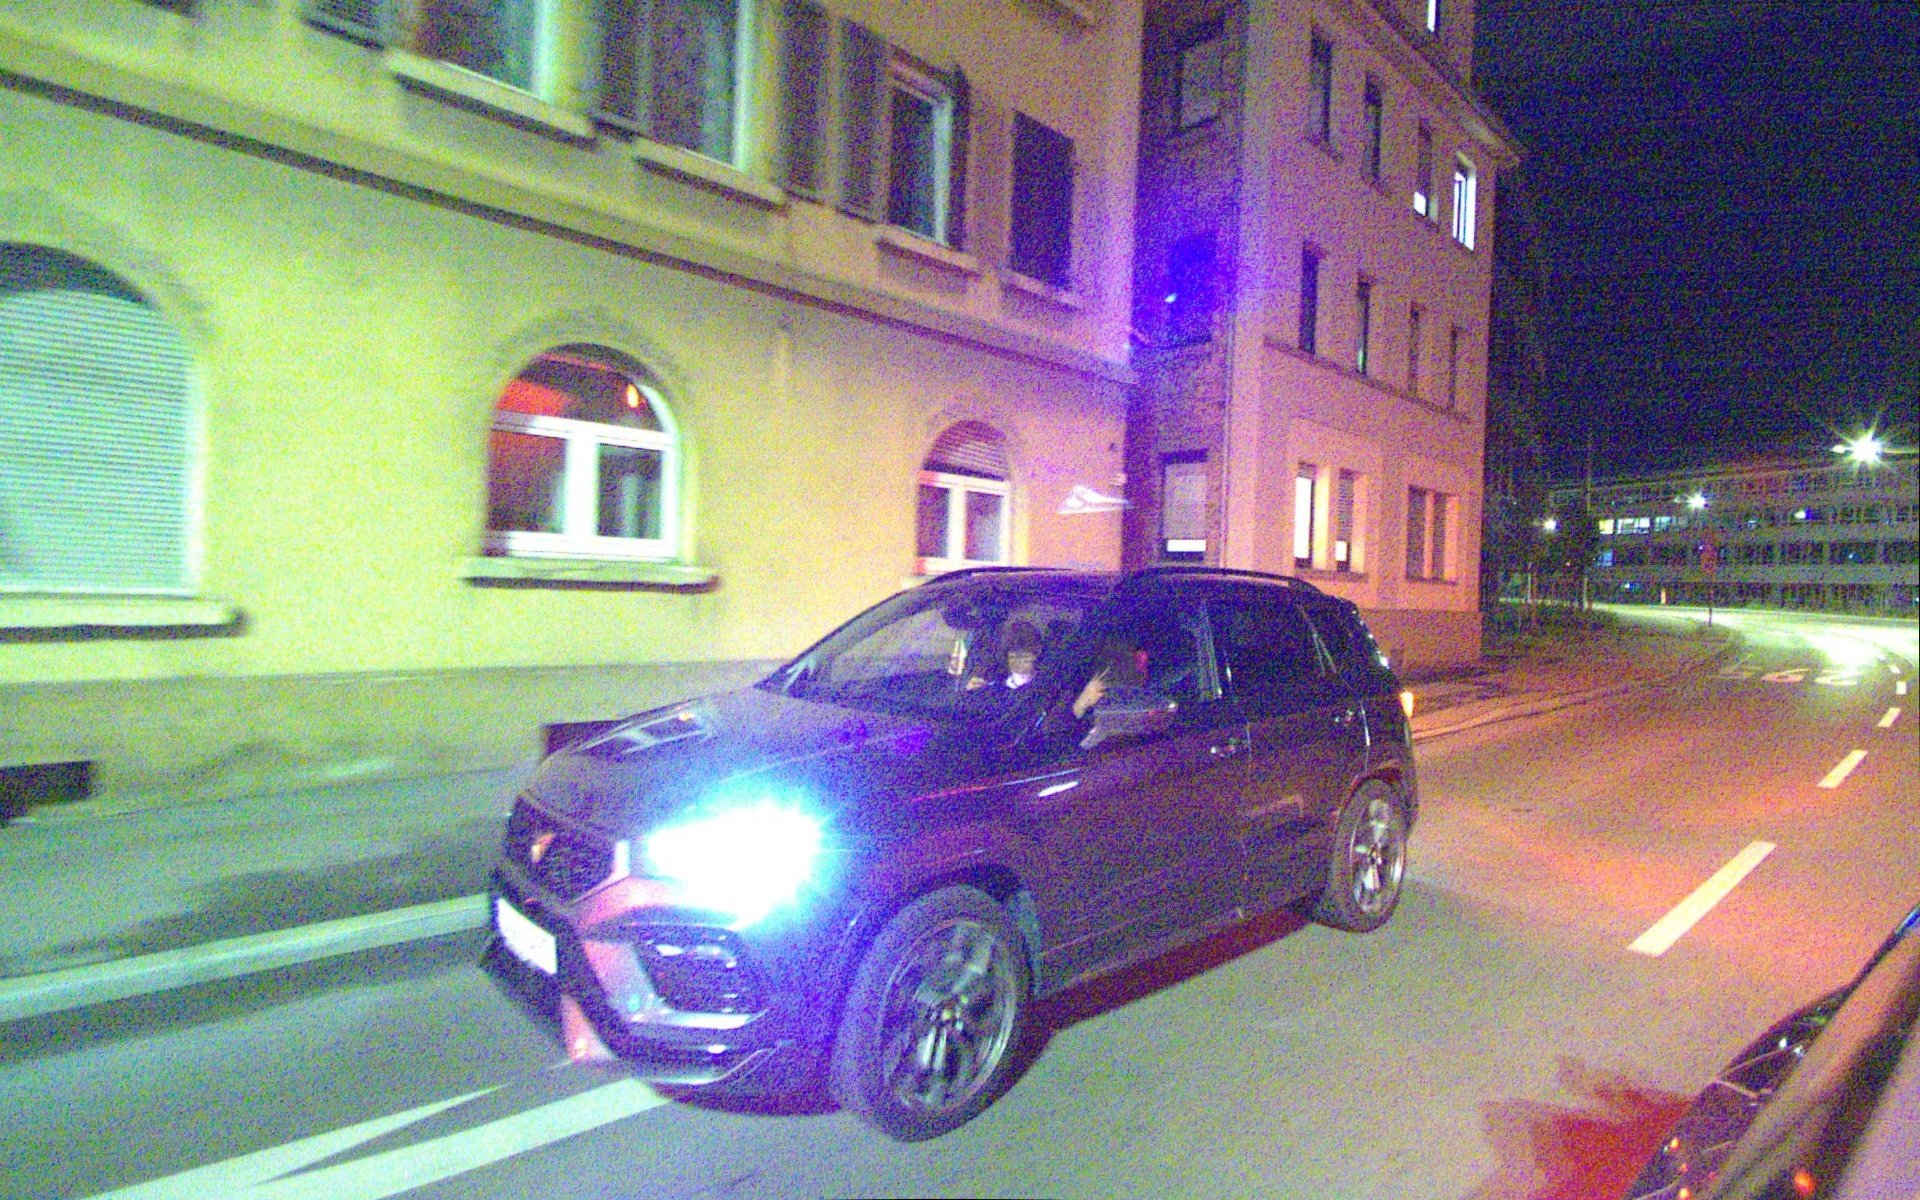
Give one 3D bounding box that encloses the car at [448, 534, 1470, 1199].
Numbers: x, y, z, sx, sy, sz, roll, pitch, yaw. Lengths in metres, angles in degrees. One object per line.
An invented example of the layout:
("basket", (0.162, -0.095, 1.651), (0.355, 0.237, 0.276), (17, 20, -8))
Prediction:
("car", (0.370, 0.624, 4.168), (4.156, 1.630, 1.673), (-1, 2, -41))
